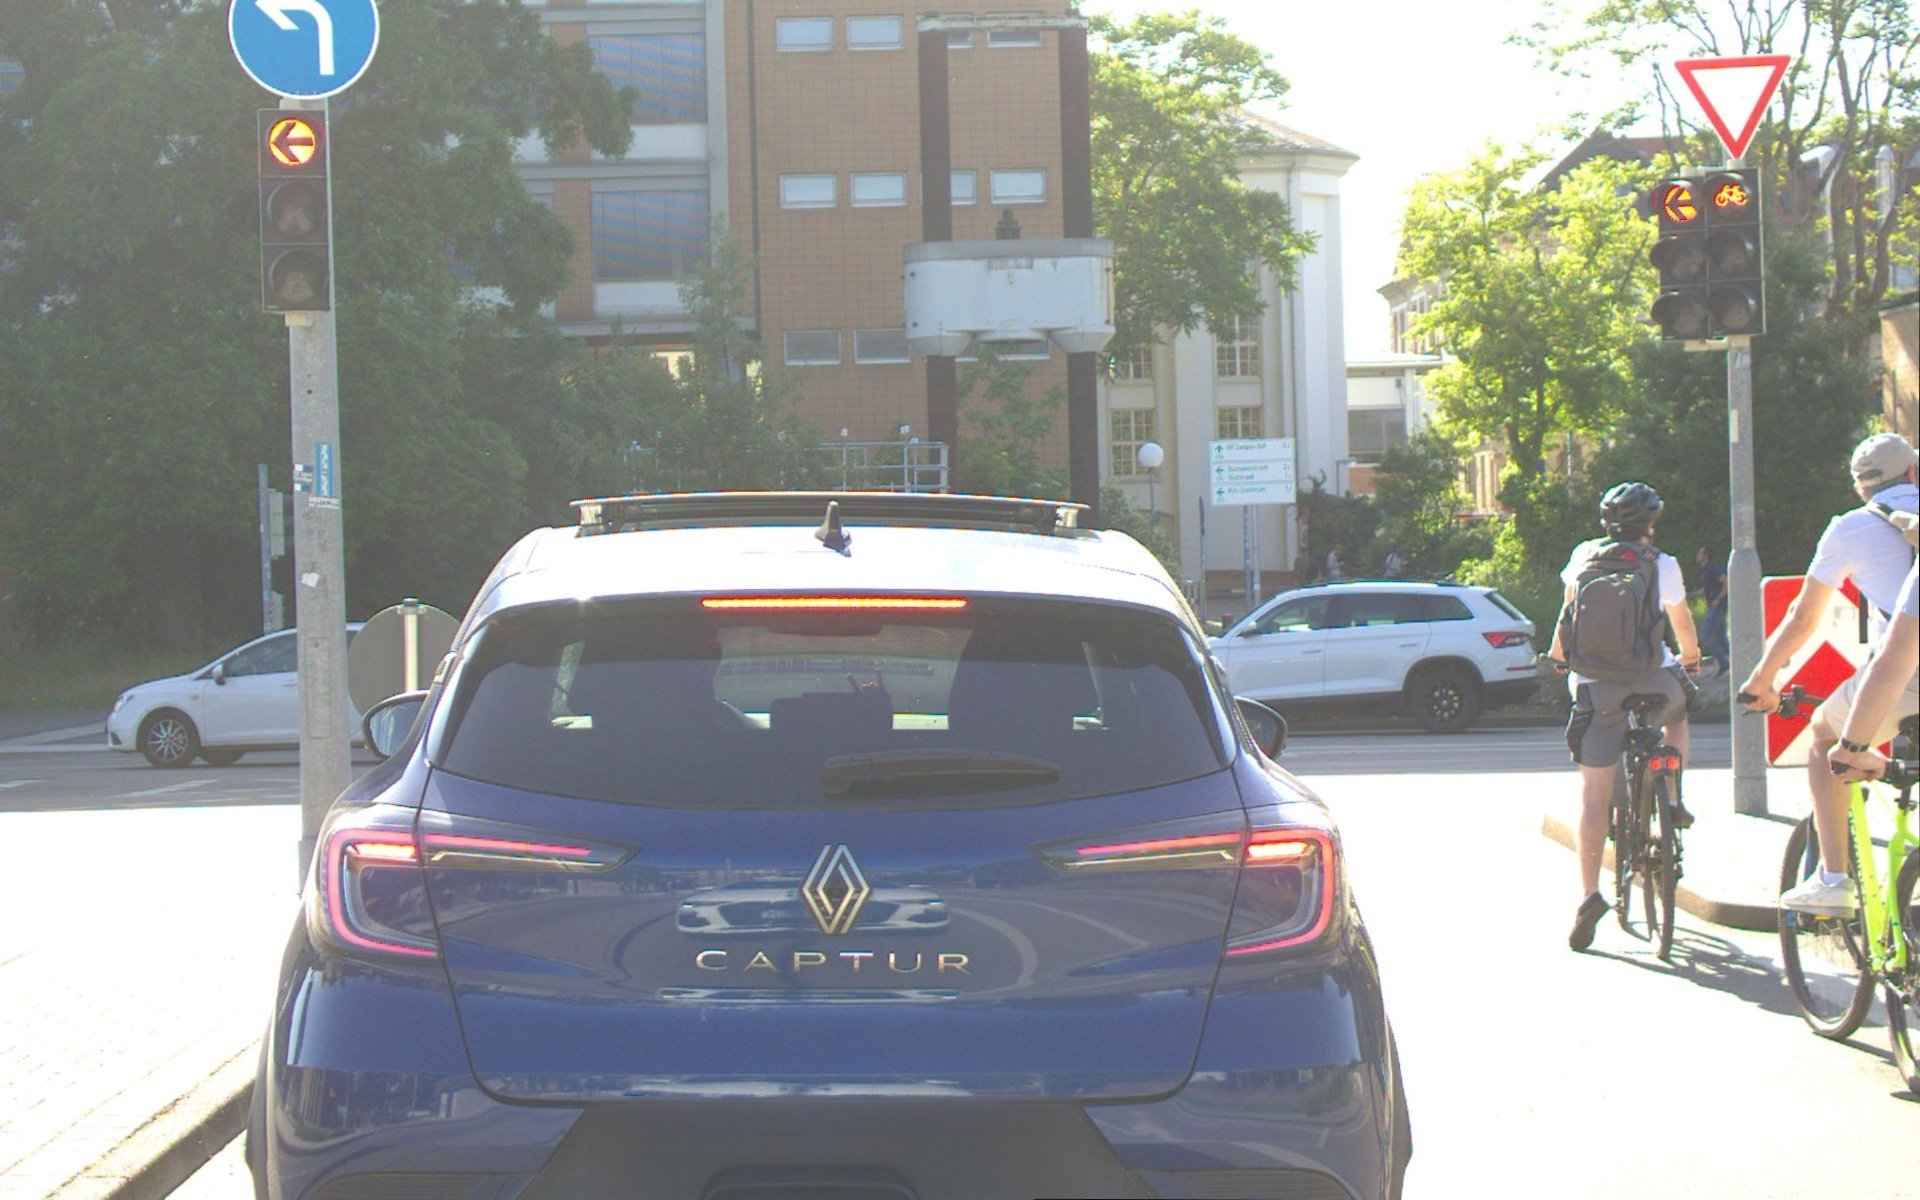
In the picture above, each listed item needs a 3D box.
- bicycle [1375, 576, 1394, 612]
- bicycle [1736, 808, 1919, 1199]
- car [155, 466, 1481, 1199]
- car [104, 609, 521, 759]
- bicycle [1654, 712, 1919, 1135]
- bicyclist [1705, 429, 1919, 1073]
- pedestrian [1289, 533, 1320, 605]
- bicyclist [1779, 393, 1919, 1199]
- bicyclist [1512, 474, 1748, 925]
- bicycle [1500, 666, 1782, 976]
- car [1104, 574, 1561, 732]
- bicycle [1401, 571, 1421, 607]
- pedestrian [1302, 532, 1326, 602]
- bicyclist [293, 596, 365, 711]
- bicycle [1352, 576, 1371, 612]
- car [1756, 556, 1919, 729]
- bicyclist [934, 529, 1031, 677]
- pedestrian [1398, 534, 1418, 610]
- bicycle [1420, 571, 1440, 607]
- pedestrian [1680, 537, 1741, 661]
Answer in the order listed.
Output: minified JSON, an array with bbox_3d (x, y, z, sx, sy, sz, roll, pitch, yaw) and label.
[{"bbox_3d":[11.609,-0.171,94.037,0.405,0.969,1.683,1,1,4],"label":"bicycle"},{"bbox_3d":[2.226,0.959,7.256,0.740,0.893,1.978,1,1,1],"label":"bicycle"},{"bbox_3d":[-0.270,0.612,6.696,1.803,1.626,4.000,0,1,-2],"label":"car"},{"bbox_3d":[-6.629,0.853,35.365,3.837,1.430,1.742,-1,0,10],"label":"car"},{"bbox_3d":[2.611,0.864,9.821,0.659,0.999,1.970,1,1,-6],"label":"bicycle"},{"bbox_3d":[2.621,0.405,9.809,0.645,1.733,1.067,1,0,-6],"label":"bicyclist"},{"bbox_3d":[8.974,-0.817,89.604,0.623,1.849,0.563,-1,1,-10],"label":"pedestrian"},{"bbox_3d":[2.230,0.425,7.245,0.751,1.663,1.016,1,0,1],"label":"bicyclist"},{"bbox_3d":[2.506,0.354,12.945,0.726,1.623,0.969,1,0,4],"label":"bicyclist"},{"bbox_3d":[2.509,0.780,12.900,0.739,0.992,2.173,1,1,3],"label":"bicycle"},{"bbox_3d":[4.118,0.572,37.746,4.826,1.626,1.843,-1,0,12],"label":"car"},{"bbox_3d":[12.377,-0.308,94.402,0.405,0.969,1.683,1,1,4],"label":"bicycle"},{"bbox_3d":[9.452,-0.889,91.753,0.613,1.849,0.467,-1,1,6],"label":"pedestrian"},{"bbox_3d":[-8.036,0.673,43.786,0.737,1.436,0.598,-2,1,-27],"label":"bicyclist"},{"bbox_3d":[10.987,-0.180,94.080,0.405,0.969,1.683,1,1,4],"label":"bicycle"},{"bbox_3d":[10.055,0.372,33.417,4.374,1.626,1.843,-1,0,10],"label":"car"},{"bbox_3d":[0.291,0.036,44.017,1.102,1.861,0.652,-1,1,10],"label":"bicyclist"},{"bbox_3d":[12.034,-0.753,92.394,0.475,2.007,0.468,-1,1,6],"label":"pedestrian"},{"bbox_3d":[12.913,-0.301,94.416,0.405,0.969,1.683,1,1,4],"label":"bicycle"},{"bbox_3d":[9.775,-0.017,44.779,0.737,1.598,0.598,-1,1,12],"label":"pedestrian"}]
